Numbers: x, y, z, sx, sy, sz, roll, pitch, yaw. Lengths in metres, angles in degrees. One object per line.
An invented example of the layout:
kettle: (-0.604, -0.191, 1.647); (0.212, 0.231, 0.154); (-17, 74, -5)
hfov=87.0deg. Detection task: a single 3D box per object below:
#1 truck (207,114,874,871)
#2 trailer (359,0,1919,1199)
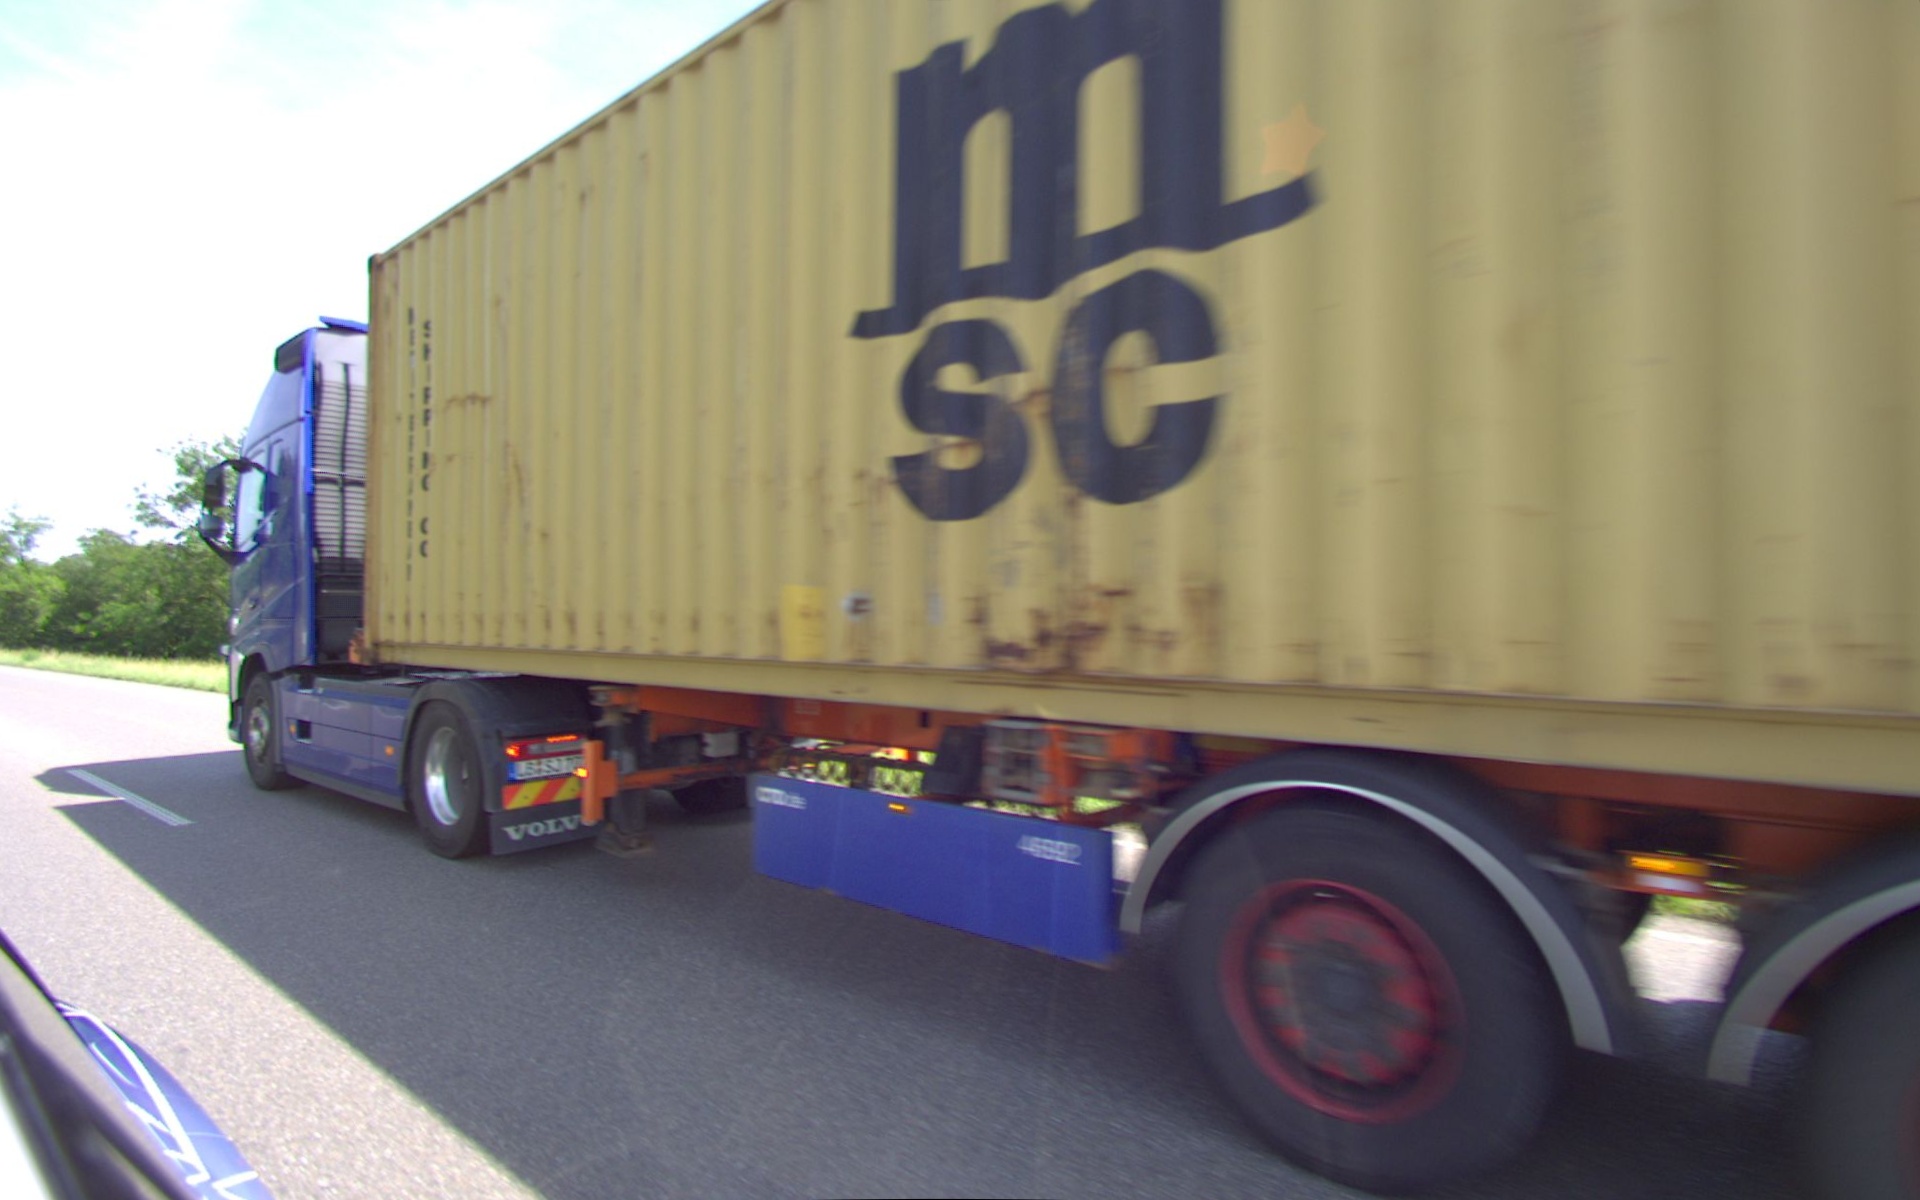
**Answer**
truck: (-3.798, -0.513, 8.486); (5.982, 4.098, 2.777); (-2, -2, 41)
trailer: (1.660, -0.653, 3.729); (12.913, 4.074, 2.965); (-2, -2, 42)
